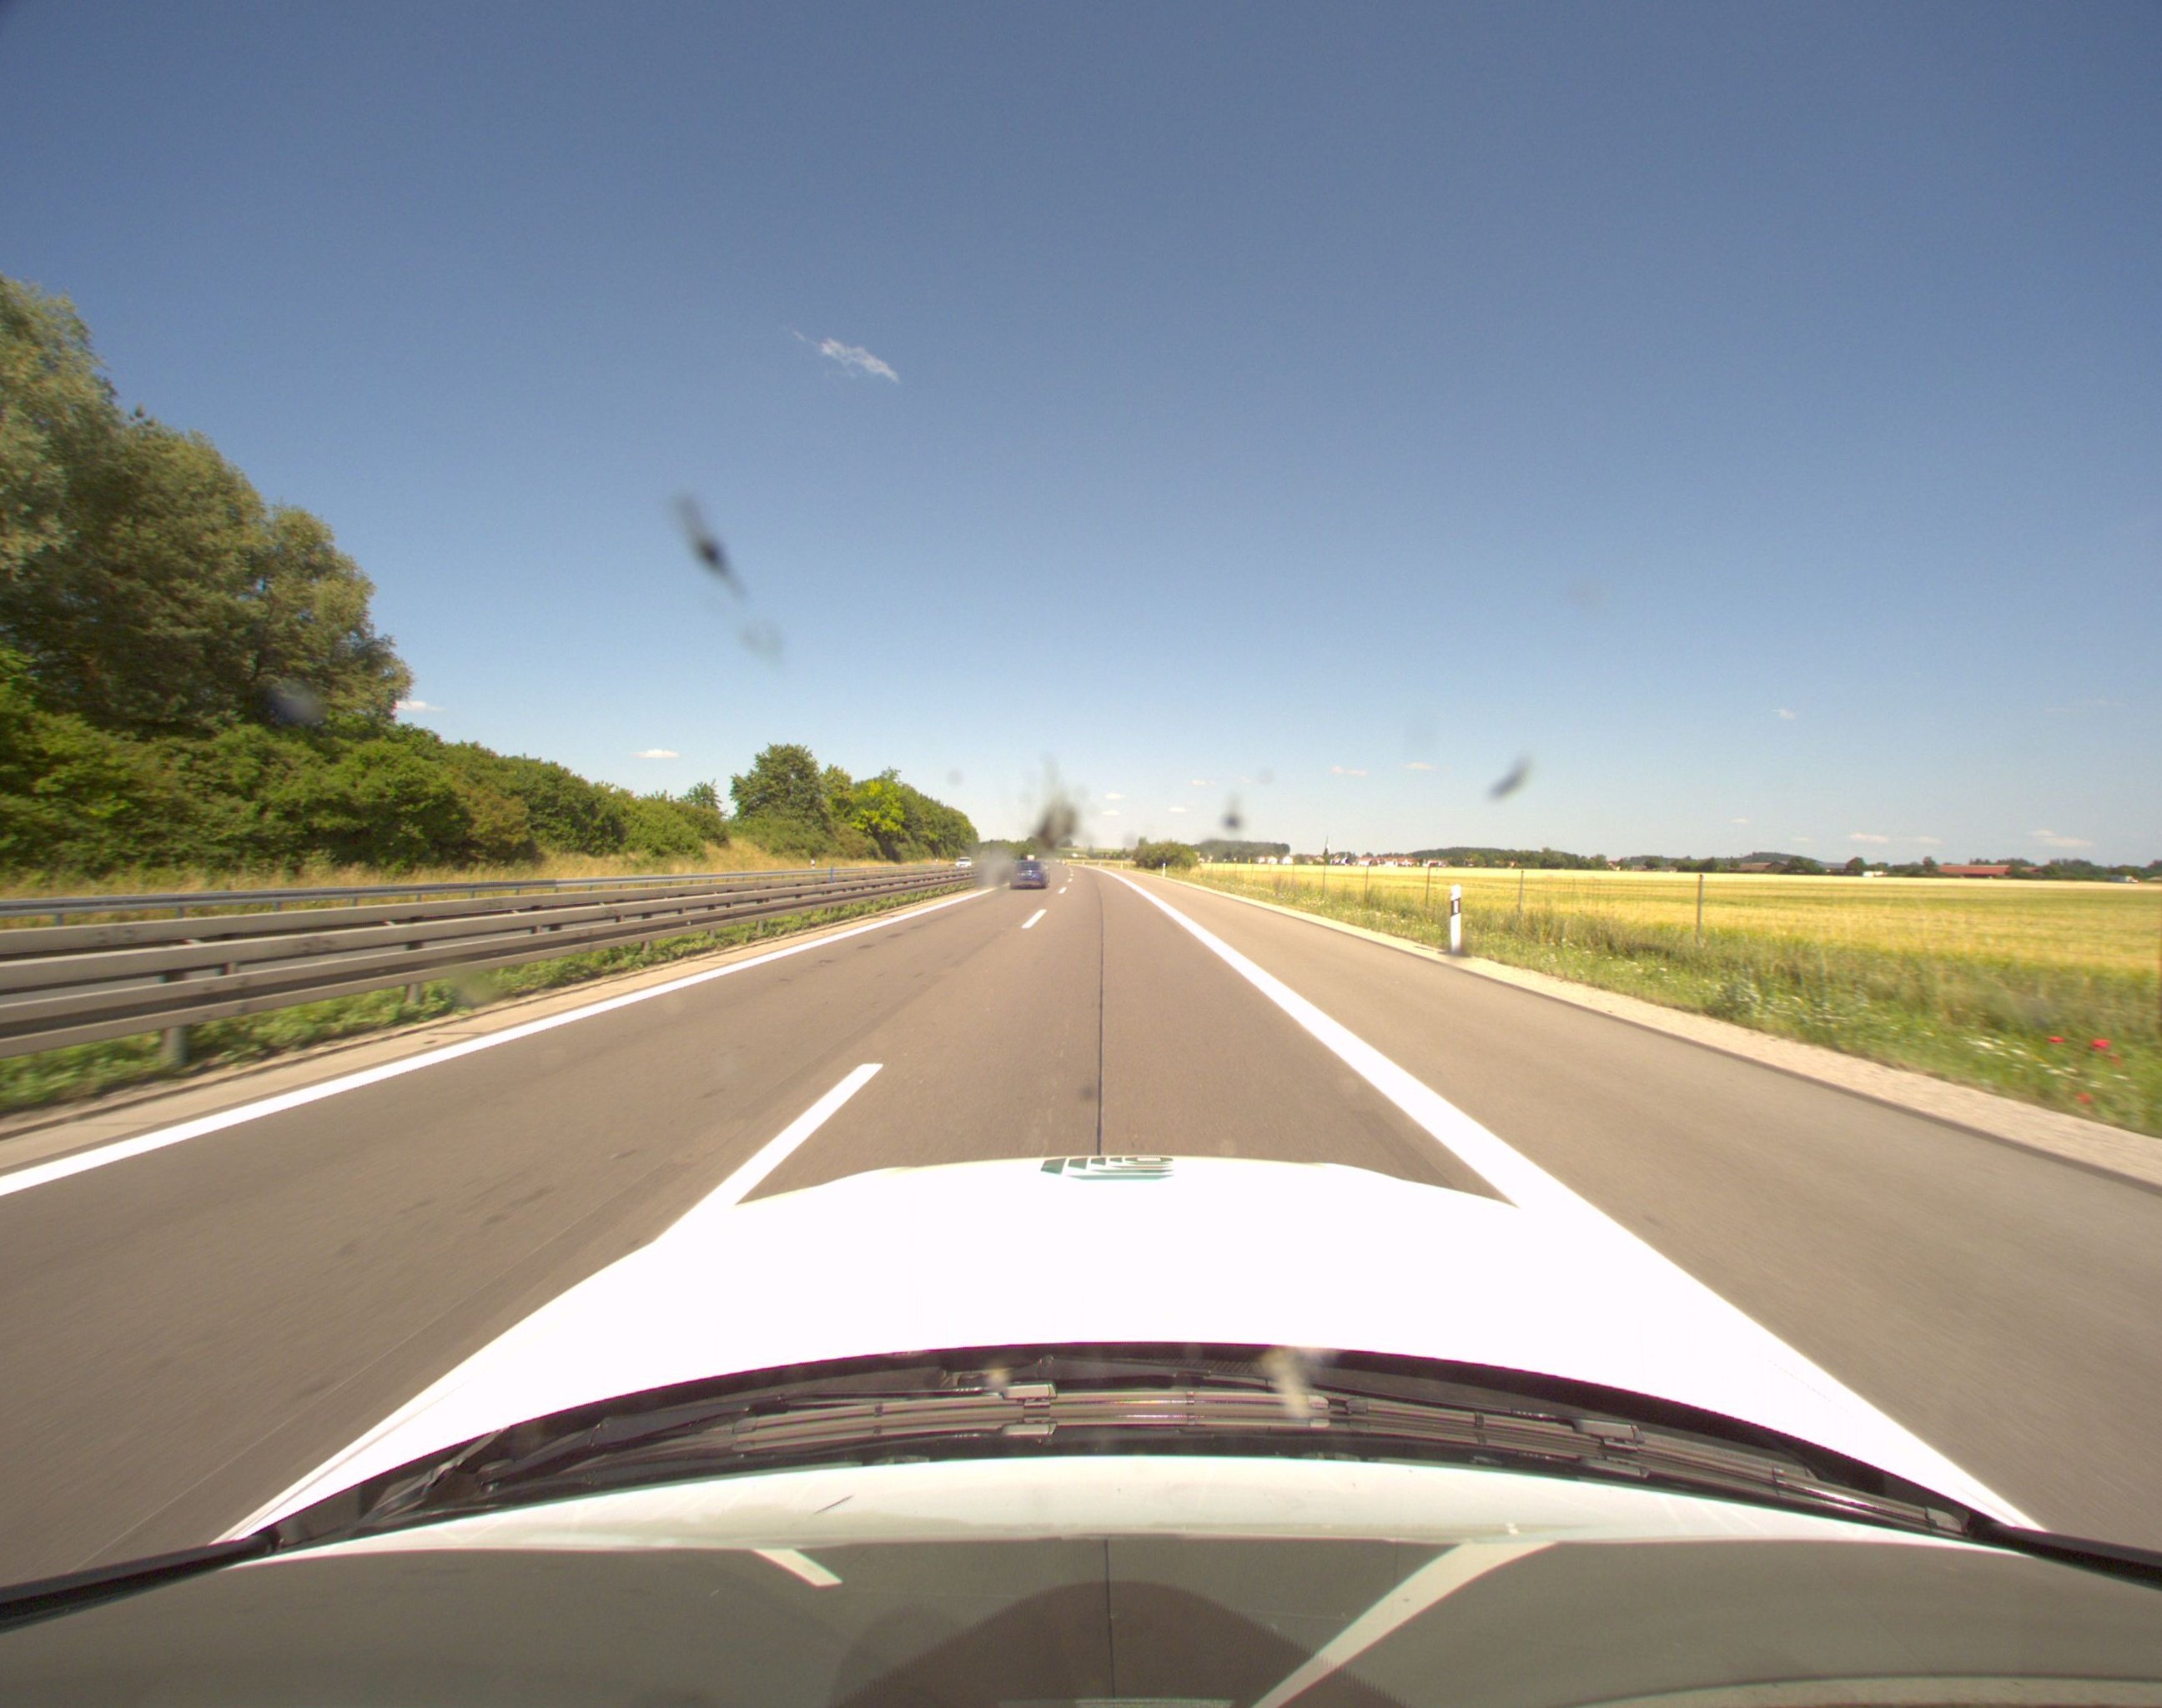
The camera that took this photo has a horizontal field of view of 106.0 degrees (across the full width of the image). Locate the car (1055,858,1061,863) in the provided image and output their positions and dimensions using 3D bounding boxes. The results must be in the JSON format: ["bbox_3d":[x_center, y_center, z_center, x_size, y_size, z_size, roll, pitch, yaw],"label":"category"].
[{"bbox_3d":[-6.911,2.040,246.312,1.672,1.453,3.589,0,0,-2],"label":"car"}]

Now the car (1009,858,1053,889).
[{"bbox_3d":[-2.538,0.957,42.660,1.841,1.432,5.866,0,0,1],"label":"car"}]

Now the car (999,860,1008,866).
[{"bbox_3d":[-17.481,1.956,182.940,1.657,1.422,3.998,0,0,-1],"label":"car"}]

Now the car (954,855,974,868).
[{"bbox_3d":[-14.079,0.880,98.151,1.745,1.565,4.579,1,0,0],"label":"car"}]

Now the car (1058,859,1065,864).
[{"bbox_3d":[-4.979,1.941,210.027,1.672,1.453,3.589,0,0,-2],"label":"car"}]

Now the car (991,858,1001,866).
[{"bbox_3d":[-16.257,1.551,156.126,1.574,1.462,4.149,0,0,-2],"label":"car"}]

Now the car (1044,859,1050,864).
[{"bbox_3d":[-9.469,2.063,225.743,1.671,1.453,3.590,0,0,-1],"label":"car"}]

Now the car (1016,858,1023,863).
[{"bbox_3d":[-17.543,1.793,232.096,1.657,1.422,3.998,0,0,-1],"label":"car"}]
